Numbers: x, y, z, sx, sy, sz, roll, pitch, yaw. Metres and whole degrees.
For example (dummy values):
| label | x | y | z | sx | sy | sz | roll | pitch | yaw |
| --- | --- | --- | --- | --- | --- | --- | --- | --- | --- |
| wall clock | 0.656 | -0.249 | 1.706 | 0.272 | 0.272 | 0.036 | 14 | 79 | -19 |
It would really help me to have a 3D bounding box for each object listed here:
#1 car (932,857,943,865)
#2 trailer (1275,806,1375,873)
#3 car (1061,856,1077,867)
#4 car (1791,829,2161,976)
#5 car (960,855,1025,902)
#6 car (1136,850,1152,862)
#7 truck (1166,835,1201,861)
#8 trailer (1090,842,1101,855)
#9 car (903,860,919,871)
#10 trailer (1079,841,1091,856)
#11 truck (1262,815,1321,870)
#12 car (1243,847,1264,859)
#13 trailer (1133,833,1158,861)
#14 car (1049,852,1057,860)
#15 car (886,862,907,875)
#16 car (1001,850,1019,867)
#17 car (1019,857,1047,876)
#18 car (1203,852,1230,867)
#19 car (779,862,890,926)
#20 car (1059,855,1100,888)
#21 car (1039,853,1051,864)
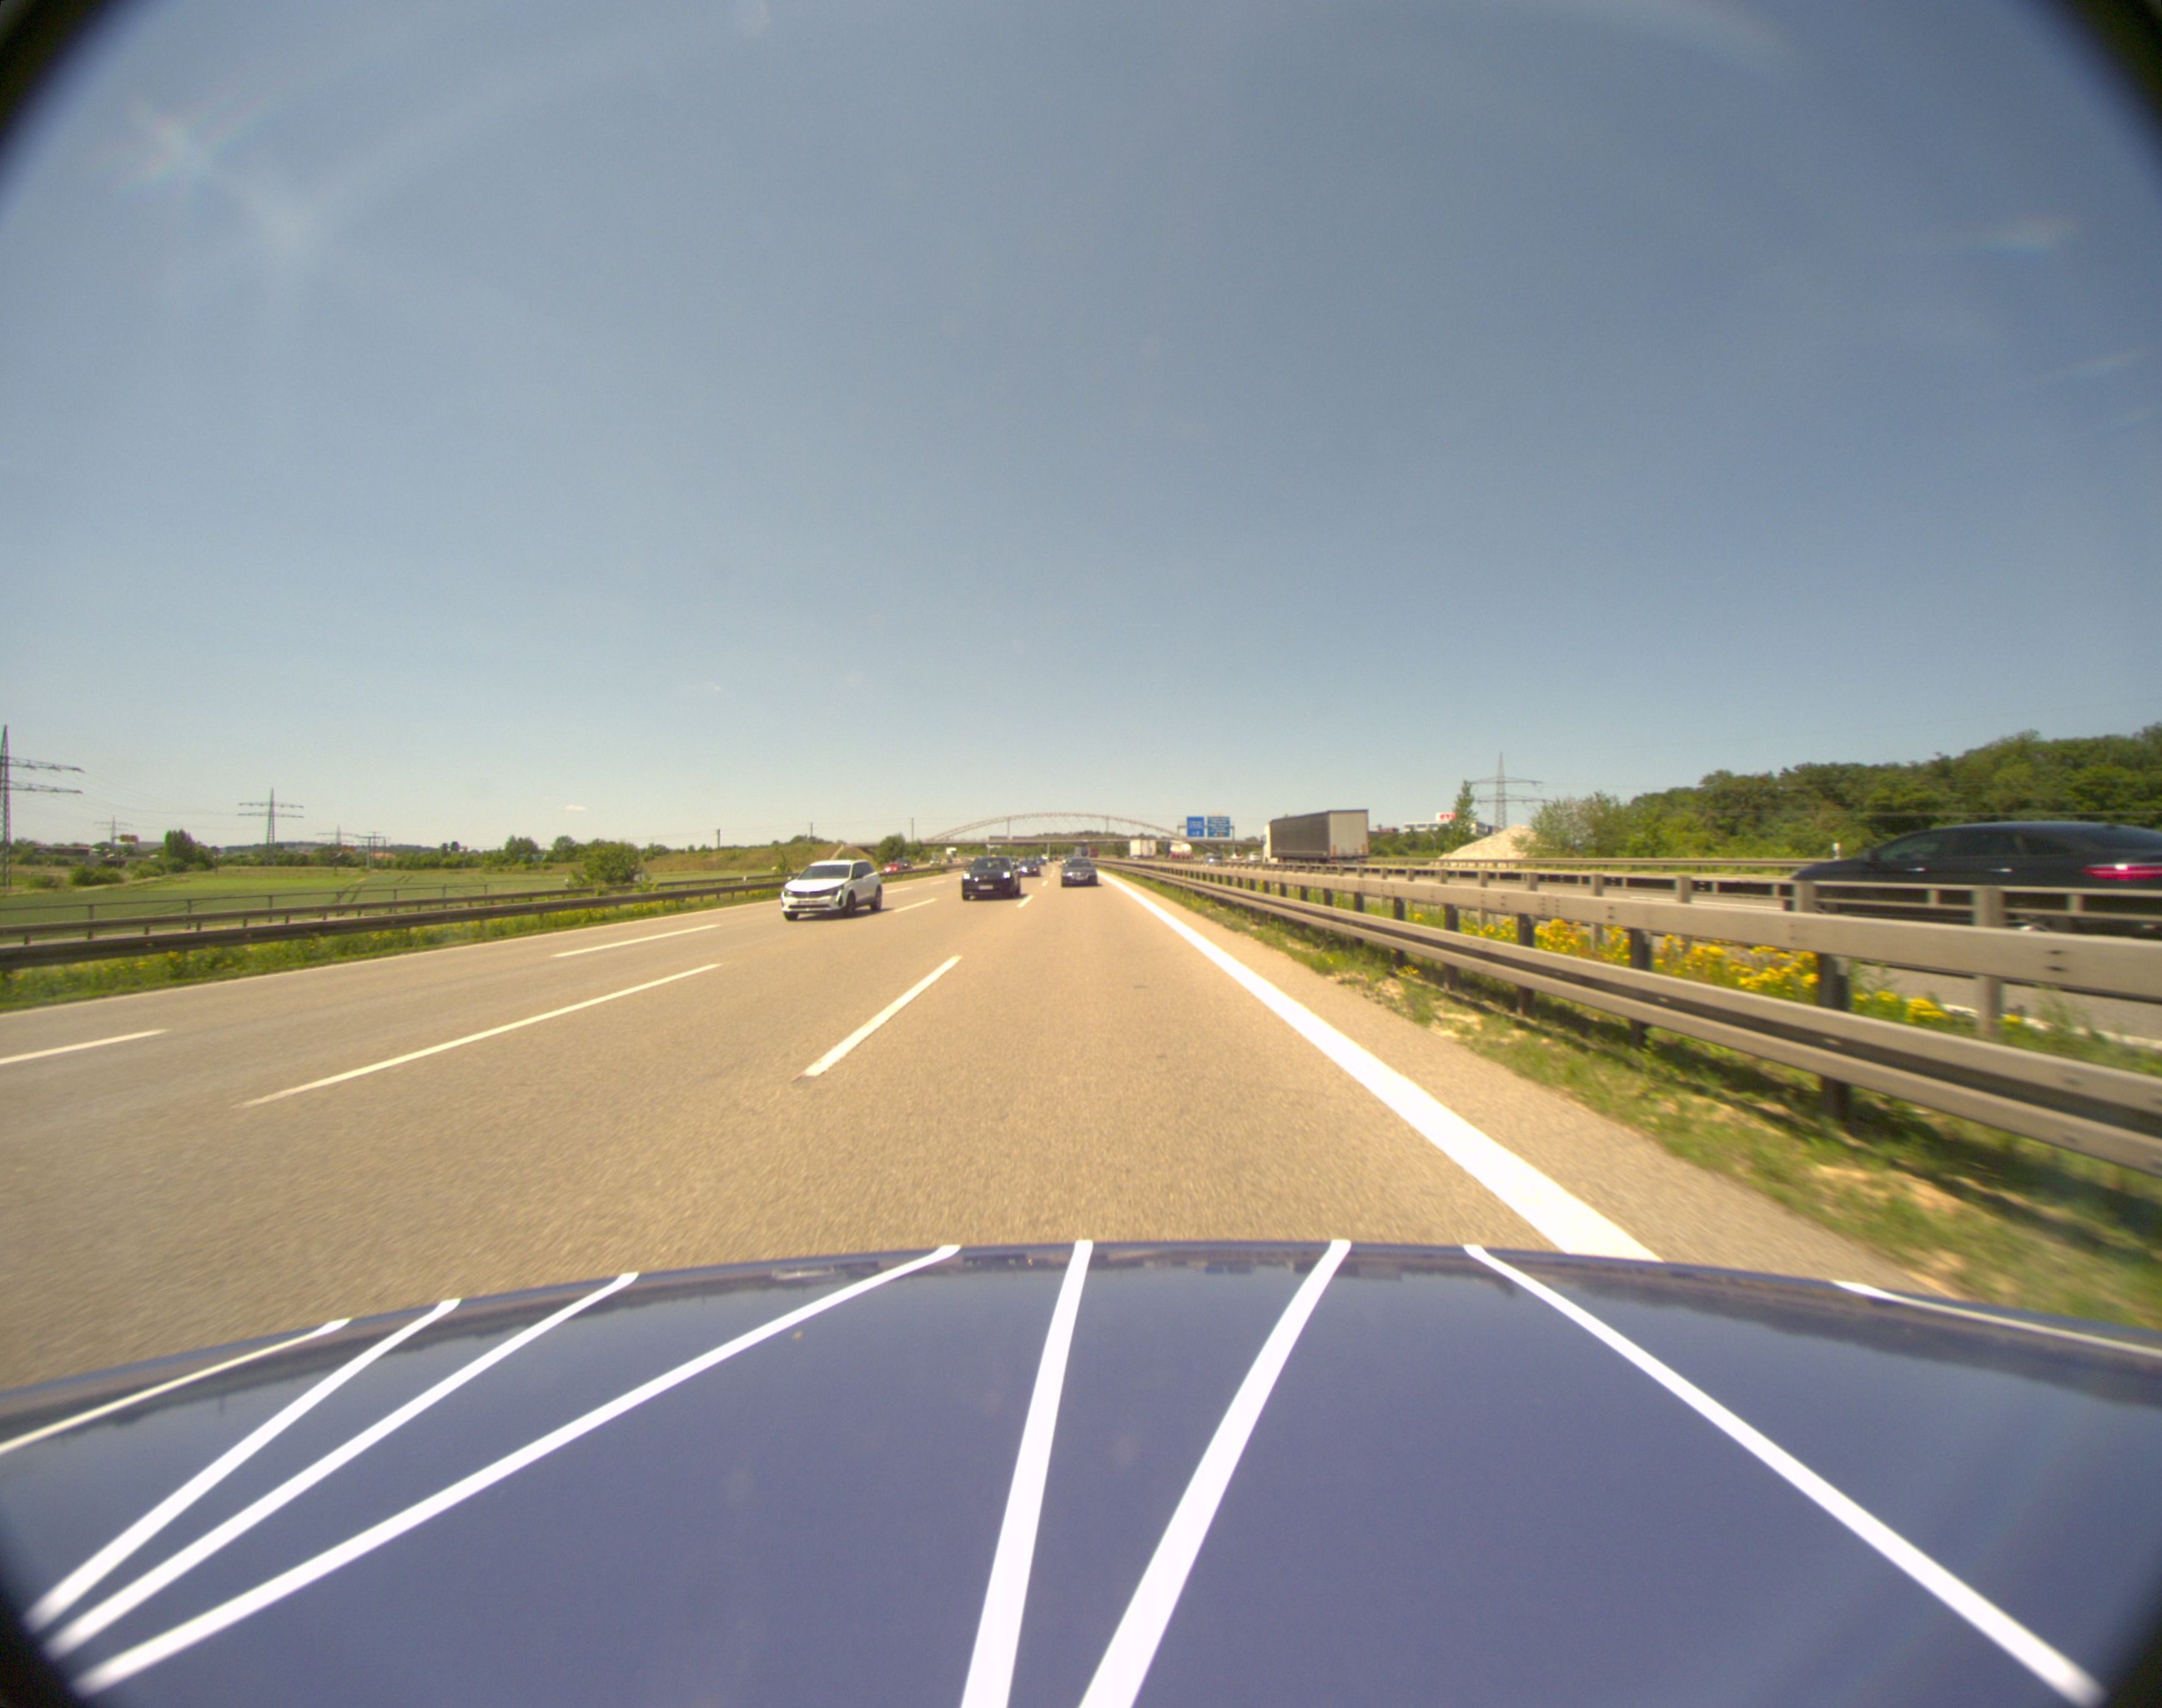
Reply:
| label | x | y | z | sx | sy | sz | roll | pitch | yaw |
| --- | --- | --- | --- | --- | --- | --- | --- | --- | --- |
| car | -30.499 | 1.544 | 161.590 | 1.704 | 1.566 | 4.126 | -2 | 0 | -4 |
| trailer | 16.853 | -0.920 | 53.723 | 2.897 | 4.089 | 12.584 | -2 | 0 | 0 |
| car | -1.575 | 0.979 | 99.031 | 1.932 | 1.390 | 4.116 | -2 | 0 | -3 |
| car | 13.161 | 0.519 | 10.695 | 1.998 | 1.635 | 4.663 | -2 | 0 | 1 |
| car | -3.305 | 0.883 | 29.253 | 1.931 | 1.586 | 4.131 | -2 | 0 | 1 |
| car | 8.881 | 0.326 | 107.073 | 1.852 | 1.588 | 4.409 | -2 | 0 | 0 |
| truck | 15.966 | -0.829 | 119.474 | 3.227 | 3.763 | 12.898 | -2 | 0 | -2 |
| trailer | 4.680 | -1.893 | 253.697 | 2.567 | 4.081 | 8.710 | -2 | 1 | -5 |
| car | -26.590 | 1.730 | 118.969 | 1.704 | 1.566 | 4.126 | -2 | 0 | -3 |
| trailer | 1.385 | -1.771 | 244.661 | 2.954 | 4.317 | 14.615 | -2 | 0 | -3 |
| truck | 16.855 | -0.873 | 61.248 | 2.888 | 4.093 | 6.384 | -2 | 0 | 0 |
| car | 23.246 | -0.147 | 102.651 | 1.755 | 1.437 | 4.439 | -2 | 0 | -1 |
| trailer | 10.800 | -1.193 | 128.121 | 2.963 | 4.346 | 10.730 | -2 | 0 | -2 |
| car | -6.853 | 0.493 | 186.272 | 1.999 | 1.849 | 3.999 | -2 | 1 | -3 |
| car | -22.941 | 1.795 | 94.477 | 1.704 | 1.566 | 4.126 | -2 | 0 | -3 |
| car | -8.593 | 0.555 | 91.895 | 1.809 | 1.908 | 4.294 | -2 | 1 | -2 |
| car | -3.772 | 0.962 | 60.383 | 1.931 | 1.390 | 4.117 | -2 | 0 | 0 |
| car | 13.021 | 0.513 | 73.169 | 1.710 | 1.352 | 4.497 | -2 | 0 | 0 |
| car | -7.152 | 1.082 | 22.600 | 1.748 | 1.582 | 4.619 | -2 | 0 | 0 |
| car | -0.052 | 0.831 | 38.555 | 1.931 | 1.499 | 4.391 | -2 | 0 | 1 |
| car | -6.259 | 0.776 | 131.907 | 1.926 | 1.761 | 3.998 | -2 | 1 | -5 |
